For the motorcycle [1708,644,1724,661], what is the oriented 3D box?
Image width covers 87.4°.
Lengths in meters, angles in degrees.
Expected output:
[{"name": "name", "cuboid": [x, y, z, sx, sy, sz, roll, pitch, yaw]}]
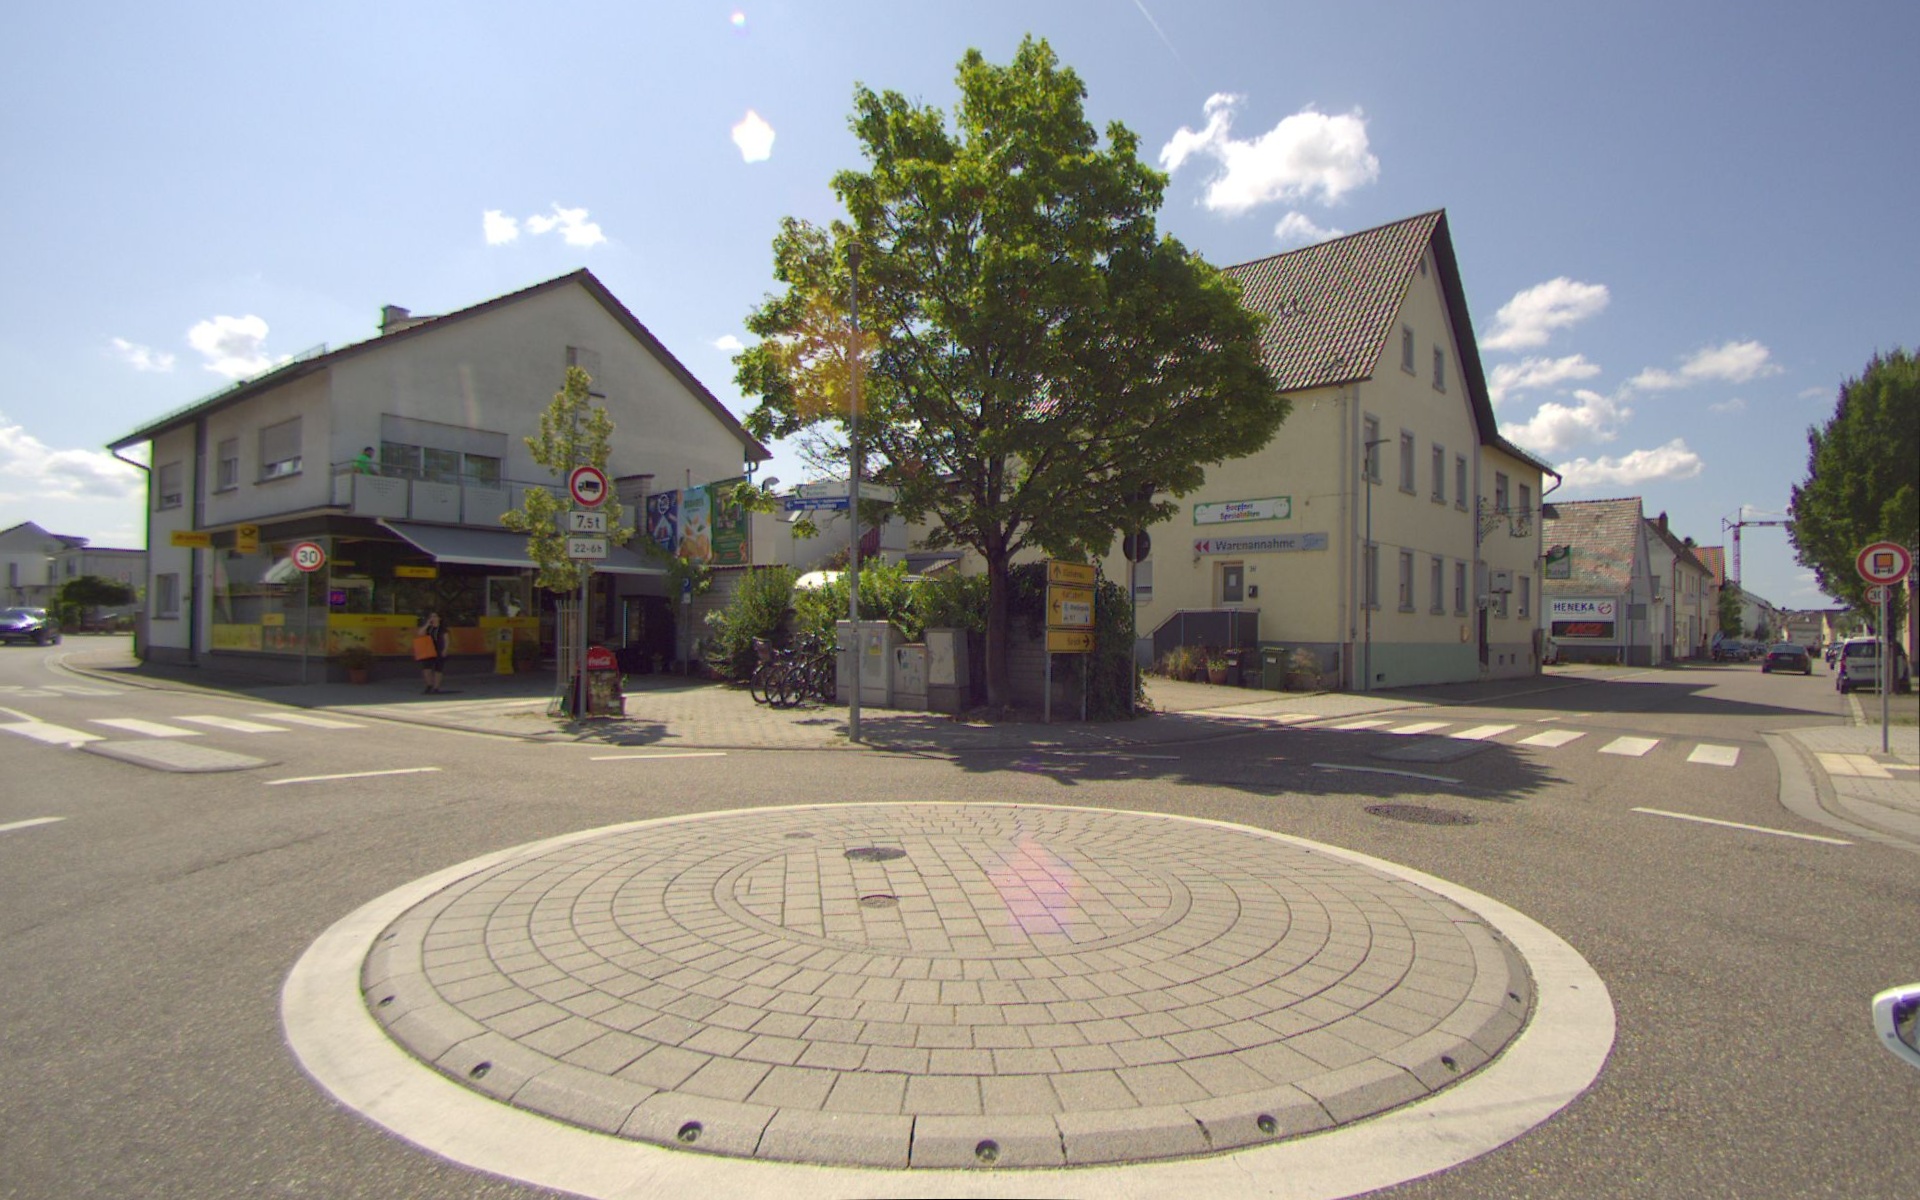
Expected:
[{"name": "motorcycle", "cuboid": [55.101, 3.805, 73.187, 0.836, 1.185, 2.458, 2, -1, 40]}]

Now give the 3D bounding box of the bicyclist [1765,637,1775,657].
[{"name": "bicyclist", "cuboid": [86.066, 4.965, 106.737, 0.731, 2.086, 0.841, 2, -1, 38]}]

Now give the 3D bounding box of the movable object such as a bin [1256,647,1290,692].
[{"name": "movable object such as a bin", "cuboid": [7.961, 1.756, 25.550, 0.593, 1.093, 0.654, -1, -2, 44]}]

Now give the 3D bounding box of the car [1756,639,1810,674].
[{"name": "car", "cuboid": [40.928, 2.776, 49.930, 1.881, 1.584, 4.452, 1, -1, 42]}]

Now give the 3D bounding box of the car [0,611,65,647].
[{"name": "car", "cuboid": [-40.767, 1.242, 43.832, 1.860, 1.368, 4.377, 3, -1, -33]}]

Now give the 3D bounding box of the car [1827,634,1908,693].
[{"name": "car", "cuboid": [29.675, 2.043, 32.948, 1.699, 1.813, 4.125, -2, -3, 39]}]

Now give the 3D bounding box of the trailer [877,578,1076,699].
[{"name": "trailer", "cuboid": [0.463, 0.819, 22.139, 1.858, 2.366, 4.500, 2, -1, 41]}]

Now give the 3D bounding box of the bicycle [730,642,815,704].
[{"name": "bicycle", "cuboid": [-3.458, 1.333, 18.704, 0.394, 1.017, 1.979, 0, 0, 29]}]

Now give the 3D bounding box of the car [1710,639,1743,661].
[{"name": "car", "cuboid": [57.965, 3.751, 75.952, 1.788, 1.610, 3.981, 1, -1, 40]}]

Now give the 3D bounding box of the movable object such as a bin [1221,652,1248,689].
[{"name": "movable object such as a bin", "cuboid": [7.156, 1.831, 26.177, 0.474, 0.940, 0.544, 0, -2, 44]}]

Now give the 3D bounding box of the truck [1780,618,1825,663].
[{"name": "truck", "cuboid": [86.320, 4.148, 102.888, 3.110, 4.306, 9.253, 2, -1, 42]}]

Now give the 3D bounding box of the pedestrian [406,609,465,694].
[{"name": "pedestrian", "cuboid": [-10.260, 0.993, 19.675, 0.736, 1.610, 0.879, 0, 0, -5]}]

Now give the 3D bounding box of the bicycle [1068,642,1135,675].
[{"name": "bicycle", "cuboid": [4.295, 1.766, 30.581, 0.538, 0.925, 2.149, 2, -2, -43]}]

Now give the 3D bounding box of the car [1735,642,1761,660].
[{"name": "car", "cuboid": [74.243, 4.767, 94.674, 1.788, 1.610, 3.981, 1, -1, 40]}]

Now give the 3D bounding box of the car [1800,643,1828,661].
[{"name": "car", "cuboid": [70.587, 4.295, 83.006, 1.700, 1.373, 4.136, 1, -1, 41]}]

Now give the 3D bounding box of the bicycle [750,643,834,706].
[{"name": "bicycle", "cuboid": [-3.063, 1.349, 18.501, 0.394, 1.017, 1.979, 0, 0, 29]}]

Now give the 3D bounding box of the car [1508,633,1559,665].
[{"name": "car", "cuboid": [30.860, 2.625, 54.008, 1.699, 1.576, 4.180, 2, -1, 39]}]

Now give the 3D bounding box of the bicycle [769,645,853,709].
[{"name": "bicycle", "cuboid": [-2.679, 1.365, 18.270, 0.394, 1.017, 1.979, 0, 0, 29]}]

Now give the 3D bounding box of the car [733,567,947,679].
[{"name": "car", "cuboid": [-2.960, 0.602, 26.055, 1.915, 2.601, 5.618, 2, -1, 41]}]
